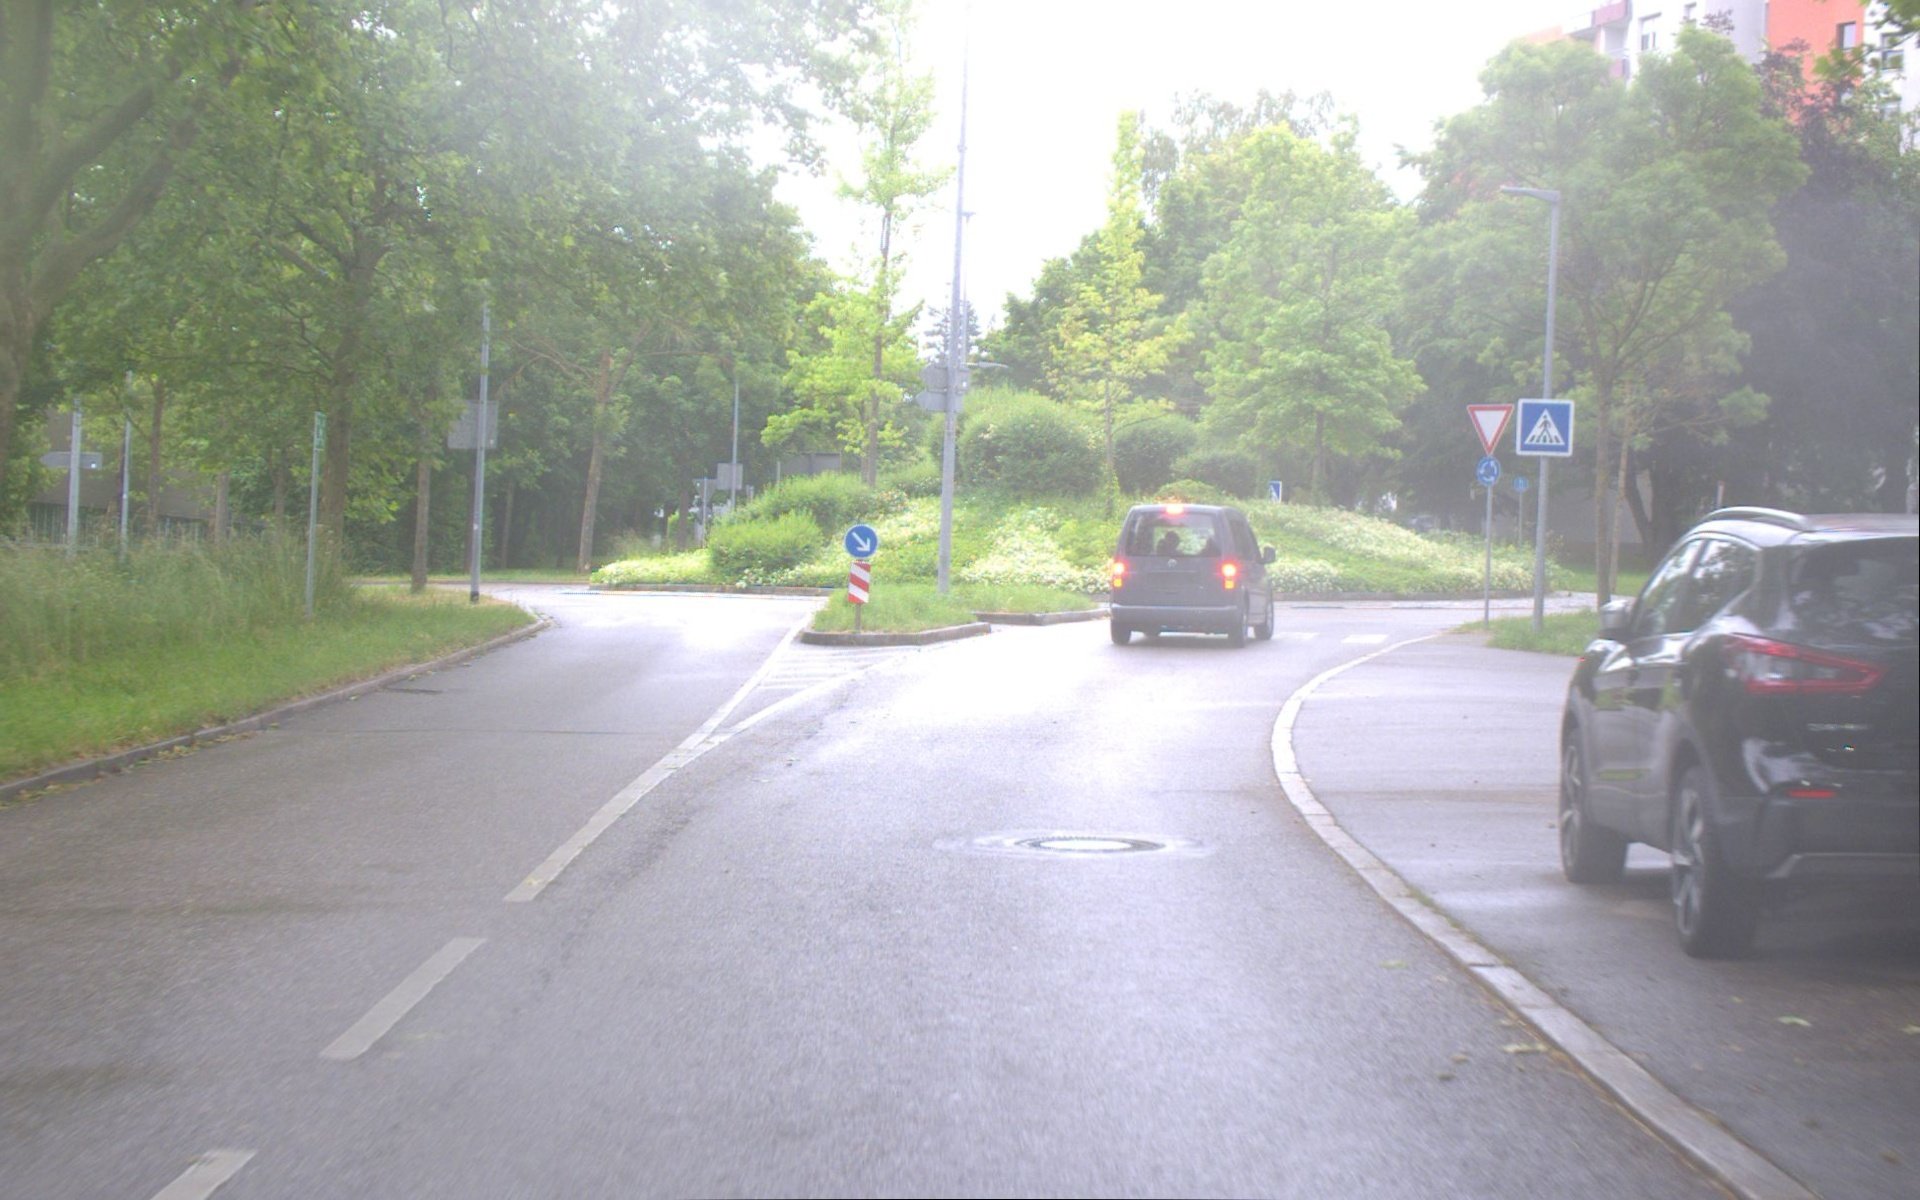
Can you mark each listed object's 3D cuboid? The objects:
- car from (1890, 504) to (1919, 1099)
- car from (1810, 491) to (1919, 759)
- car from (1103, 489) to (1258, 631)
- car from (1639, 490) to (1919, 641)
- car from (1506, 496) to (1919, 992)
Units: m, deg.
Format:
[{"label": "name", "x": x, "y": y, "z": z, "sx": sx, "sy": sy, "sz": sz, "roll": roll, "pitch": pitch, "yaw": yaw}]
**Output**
[{"label": "car", "x": 3.431, "y": 0.561, "z": 7.321, "sx": 1.728, "sy": 1.586, "sz": 4.253, "roll": 0, "pitch": 1, "yaw": 0}, {"label": "car", "x": 8.012, "y": 0.201, "z": 22.390, "sx": 4.470, "sy": 1.674, "sz": 1.767, "roll": 2, "pitch": 2, "yaw": 2}, {"label": "car", "x": 2.873, "y": -0.542, "z": 45.468, "sx": 1.918, "sy": 1.795, "sz": 3.790, "roll": 0, "pitch": 1, "yaw": 2}, {"label": "car", "x": 11.522, "y": -0.464, "z": 46.414, "sx": 4.378, "sy": 1.753, "sz": 1.829, "roll": 4, "pitch": 3, "yaw": 6}, {"label": "car", "x": 3.353, "y": 0.450, "z": 13.318, "sx": 1.801, "sy": 1.596, "sz": 4.371, "roll": 1, "pitch": 1, "yaw": 1}]
